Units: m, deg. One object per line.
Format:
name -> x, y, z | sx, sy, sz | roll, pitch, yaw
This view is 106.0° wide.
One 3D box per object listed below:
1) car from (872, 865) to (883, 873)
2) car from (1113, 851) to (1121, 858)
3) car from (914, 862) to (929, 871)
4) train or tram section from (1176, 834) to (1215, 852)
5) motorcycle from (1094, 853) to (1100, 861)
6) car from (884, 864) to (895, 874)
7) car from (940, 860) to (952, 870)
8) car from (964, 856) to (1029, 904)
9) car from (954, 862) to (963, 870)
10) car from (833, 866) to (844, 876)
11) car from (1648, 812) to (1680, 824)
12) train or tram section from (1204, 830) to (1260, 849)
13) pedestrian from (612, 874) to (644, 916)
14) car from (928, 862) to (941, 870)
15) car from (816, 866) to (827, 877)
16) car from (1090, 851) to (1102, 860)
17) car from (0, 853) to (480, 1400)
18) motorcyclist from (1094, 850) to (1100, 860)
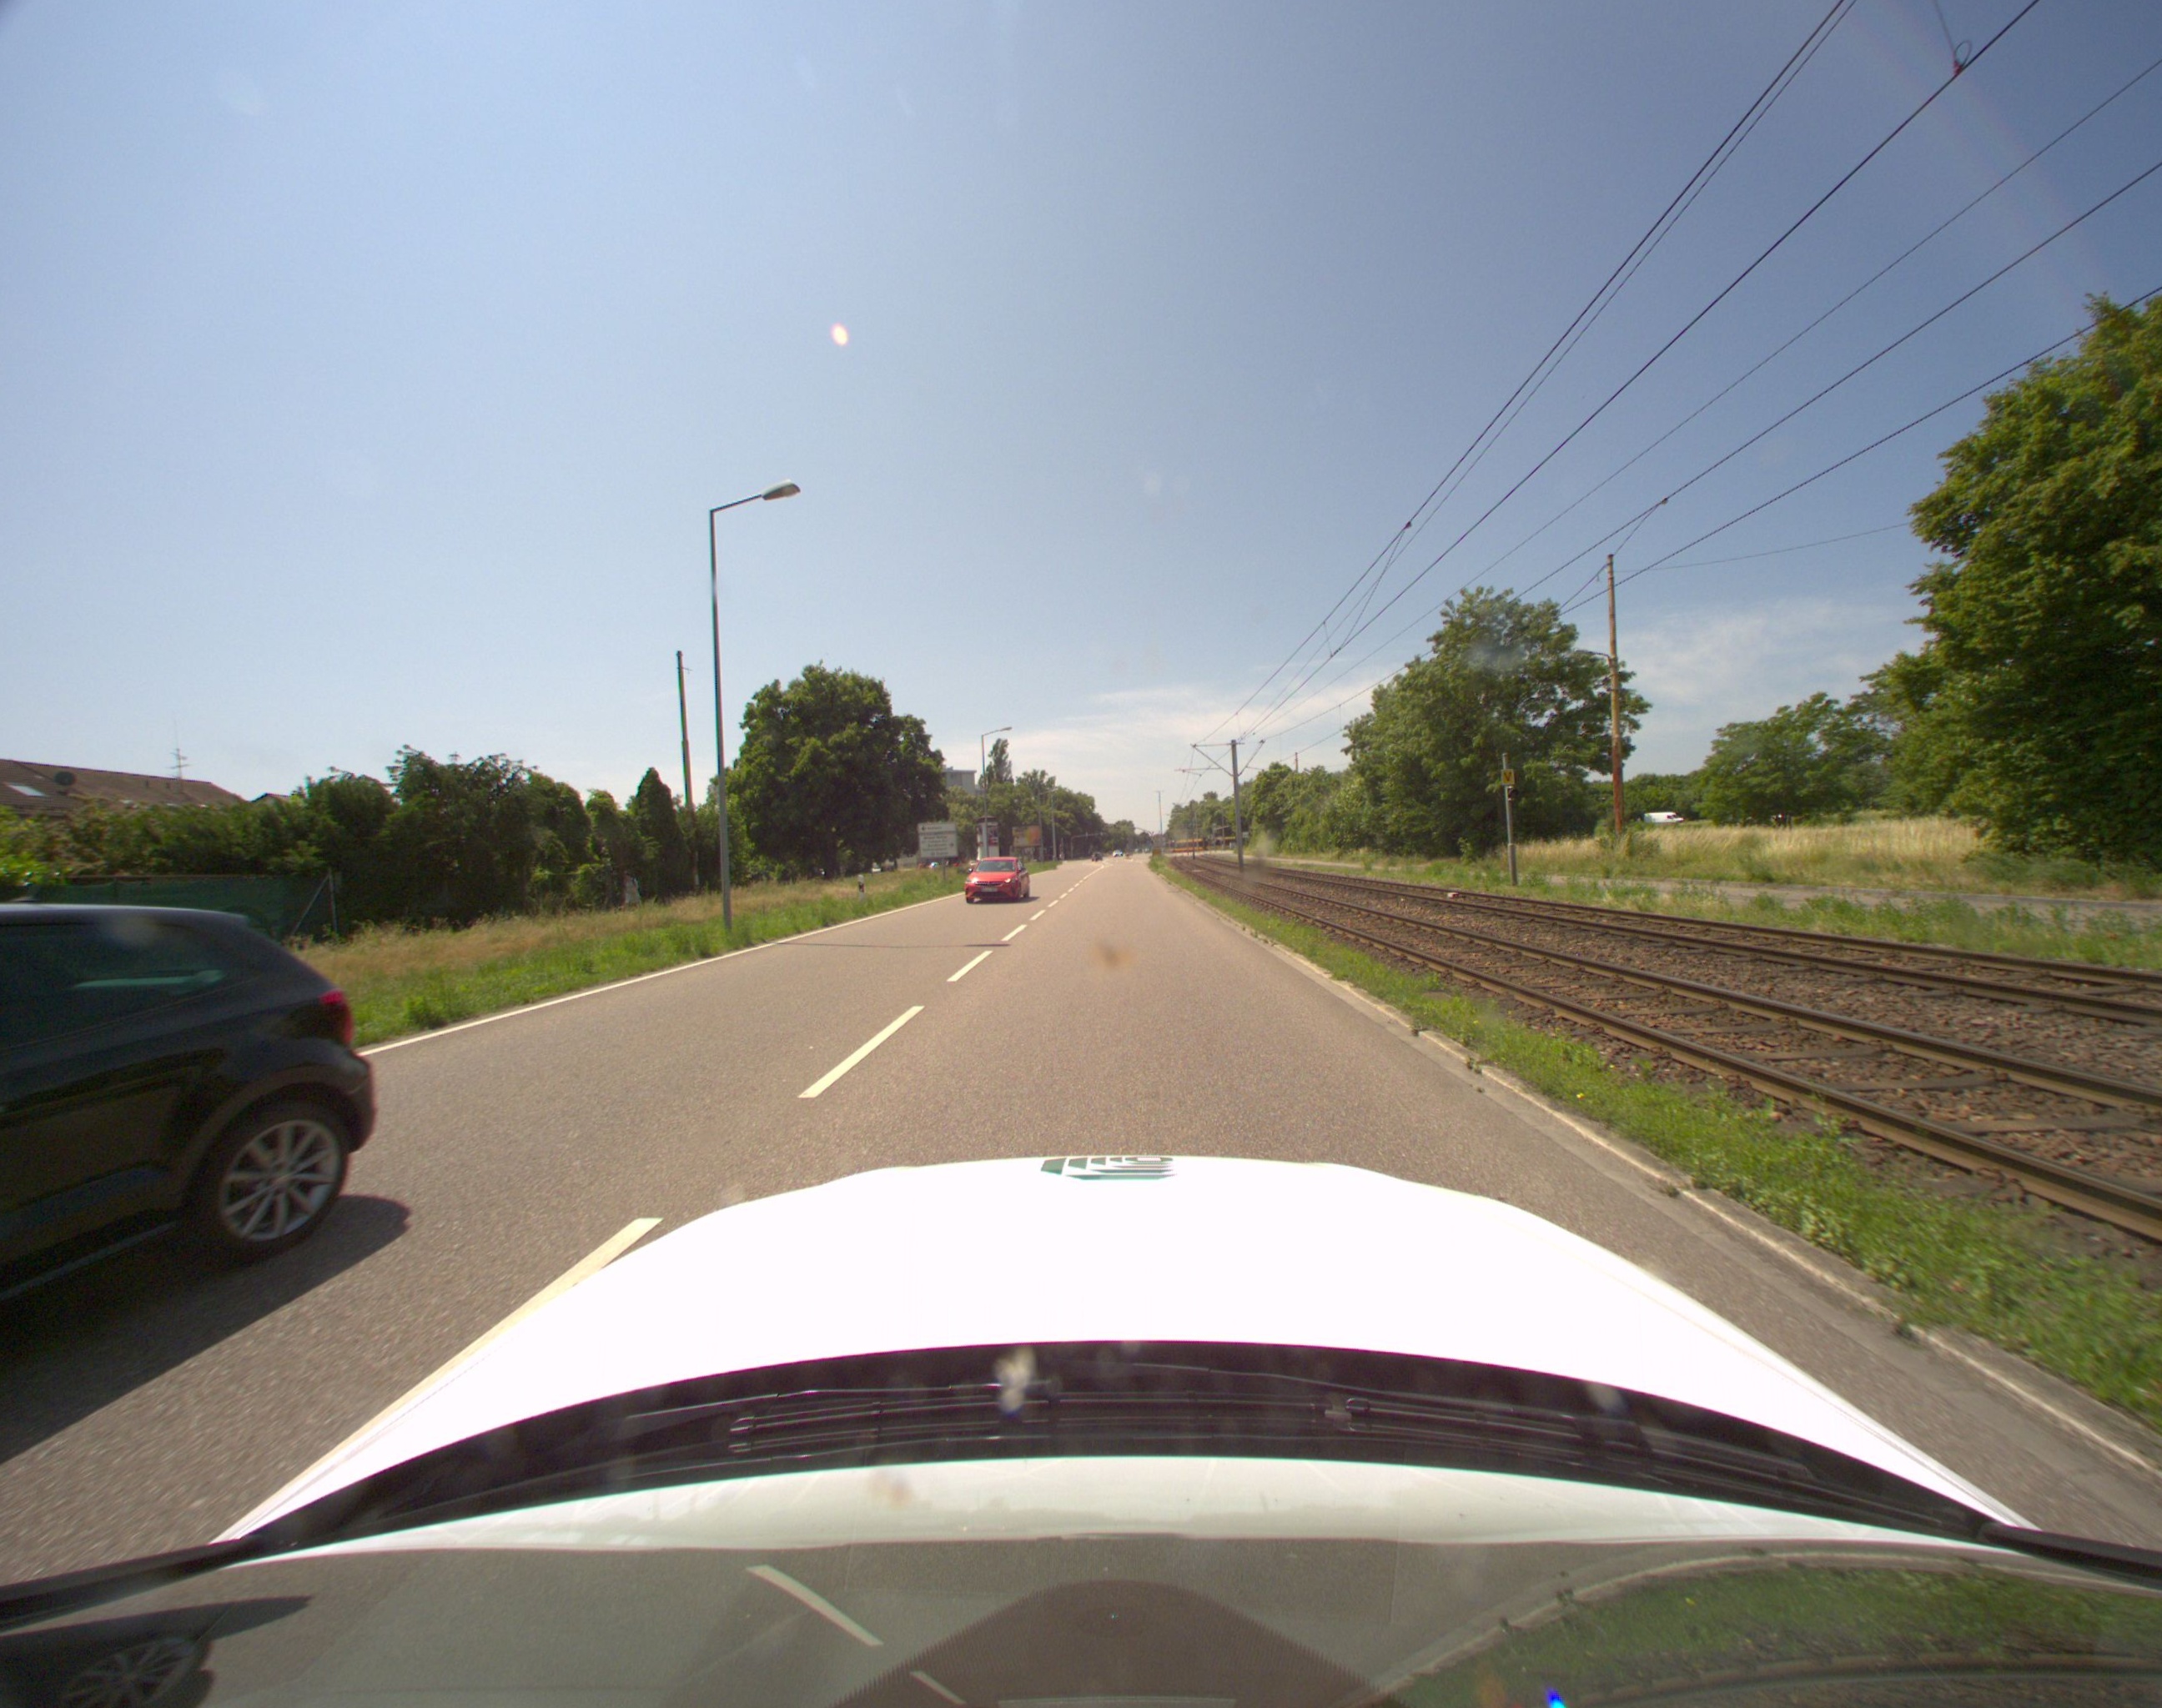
car -> -40.406, 2.937, 161.601 | 1.693, 1.562, 3.815 | -3, 0, -18
car -> 8.810, 0.110, 198.735 | 1.776, 1.628, 3.870 | -3, 0, 4
car -> -32.235, 2.587, 164.267 | 1.856, 1.668, 3.965 | -3, 0, -26
train or tram section -> 30.760, -2.878, 219.126 | 2.929, 3.919, 13.919 | -1, -3, -26
motorcycle -> 2.449, 0.447, 126.603 | 0.843, 1.255, 2.451 | -2, 0, 3
car -> -38.320, 3.019, 162.781 | 1.851, 1.711, 3.975 | -2, 1, -18
car -> -27.514, 2.265, 165.916 | 1.709, 1.800, 3.975 | -2, 0, -18
car -> -2.695, 0.805, 26.853 | 1.674, 1.399, 3.999 | -2, 0, 0
car -> -25.033, 2.445, 166.443 | 1.619, 1.464, 3.984 | -2, 0, -12
car -> -47.203, 3.285, 158.433 | 1.851, 1.947, 3.975 | -2, 0, -18
car -> 110.089, -6.751, 153.791 | 2.064, 2.014, 4.714 | 0, 0, -17
train or tram section -> 38.934, -3.597, 210.395 | 13.785, 3.919, 2.941 | -4, -3, 30
pedestrian -> -15.305, 1.385, 27.522 | 0.578, 1.355, 0.799 | -2, 0, 4
car -> -29.724, 2.492, 165.156 | 1.712, 1.592, 3.970 | -2, 0, -22
car -> -50.304, 3.395, 157.871 | 1.851, 1.947, 3.975 | -2, 0, -18
car -> 2.625, 0.178, 142.157 | 1.899, 1.499, 4.633 | -2, 0, 2
car -> -3.968, 0.816, 2.198 | 1.679, 1.570, 3.967 | -2, 0, 0
motorcyclist -> 2.456, 0.168, 126.782 | 0.787, 1.643, 1.212 | -2, 0, 2
